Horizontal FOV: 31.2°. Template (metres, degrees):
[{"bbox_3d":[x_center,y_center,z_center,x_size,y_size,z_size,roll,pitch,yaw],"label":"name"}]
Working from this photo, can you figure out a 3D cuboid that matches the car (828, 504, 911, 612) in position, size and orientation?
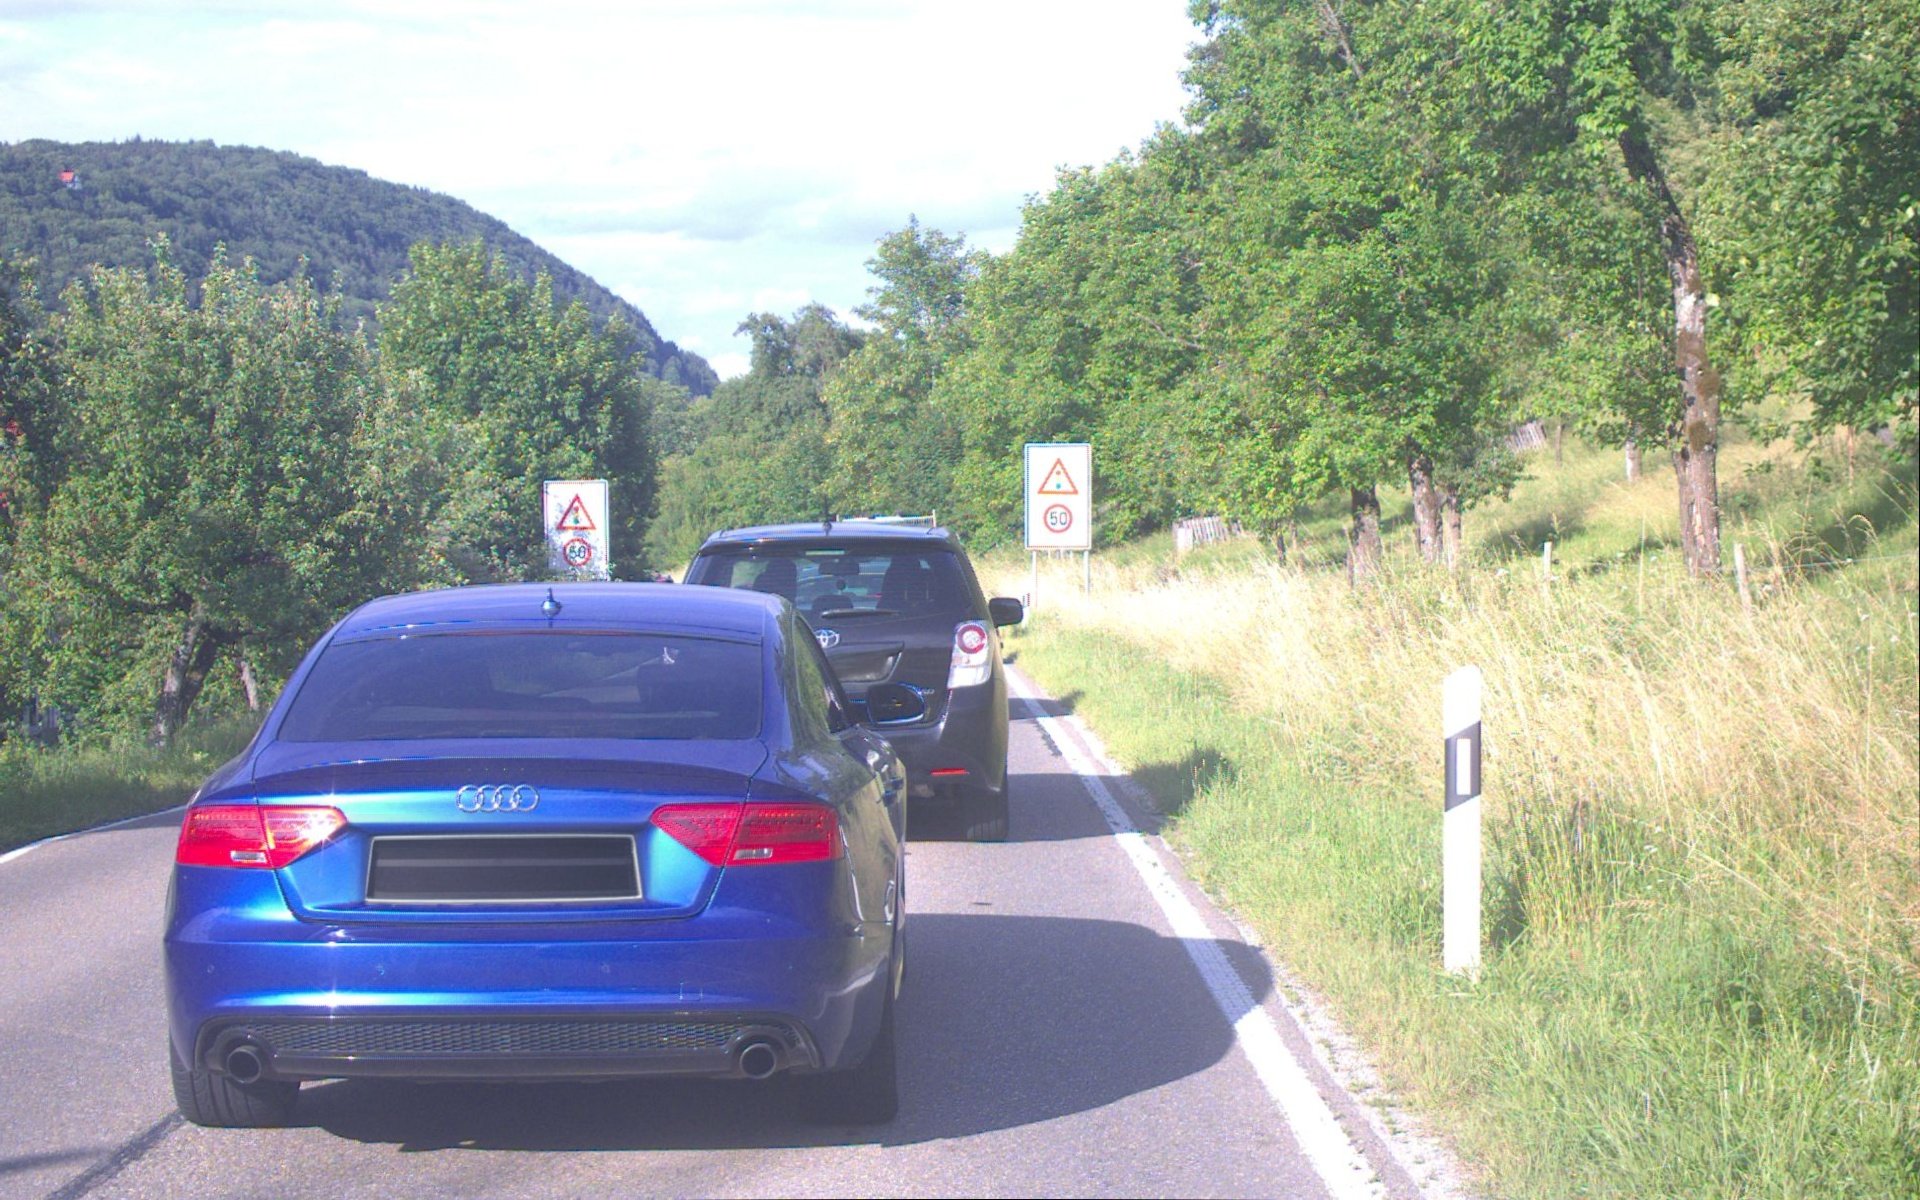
[{"bbox_3d":[-2.154,-1.000,80.941,1.792,2.445,3.920,1,1,-3],"label":"car"}]

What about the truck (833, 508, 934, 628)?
[{"bbox_3d":[-1.581,-0.673,70.862,1.950,2.337,5.094,1,1,-1],"label":"truck"}]

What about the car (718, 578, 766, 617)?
[{"bbox_3d":[-8.803,-0.110,138.919,1.558,1.490,3.779,1,1,-9],"label":"car"}]

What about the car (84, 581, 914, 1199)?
[{"bbox_3d":[-1.055,0.647,9.772,1.805,1.377,4.215,0,0,0],"label":"car"}]

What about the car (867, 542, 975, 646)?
[{"bbox_3d":[-0.637,-0.126,56.023,1.692,1.618,3.789,0,1,-1],"label":"car"}]

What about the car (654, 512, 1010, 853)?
[{"bbox_3d":[-0.633,0.358,18.235,1.692,1.618,3.789,0,1,-1],"label":"car"}]

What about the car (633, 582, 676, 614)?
[{"bbox_3d":[-15.003,-0.092,168.571,1.558,1.490,3.779,1,1,-13],"label":"car"}]

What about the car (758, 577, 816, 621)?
[{"bbox_3d":[-6.281,-0.033,124.381,1.747,1.490,3.779,1,1,-8],"label":"car"}]
